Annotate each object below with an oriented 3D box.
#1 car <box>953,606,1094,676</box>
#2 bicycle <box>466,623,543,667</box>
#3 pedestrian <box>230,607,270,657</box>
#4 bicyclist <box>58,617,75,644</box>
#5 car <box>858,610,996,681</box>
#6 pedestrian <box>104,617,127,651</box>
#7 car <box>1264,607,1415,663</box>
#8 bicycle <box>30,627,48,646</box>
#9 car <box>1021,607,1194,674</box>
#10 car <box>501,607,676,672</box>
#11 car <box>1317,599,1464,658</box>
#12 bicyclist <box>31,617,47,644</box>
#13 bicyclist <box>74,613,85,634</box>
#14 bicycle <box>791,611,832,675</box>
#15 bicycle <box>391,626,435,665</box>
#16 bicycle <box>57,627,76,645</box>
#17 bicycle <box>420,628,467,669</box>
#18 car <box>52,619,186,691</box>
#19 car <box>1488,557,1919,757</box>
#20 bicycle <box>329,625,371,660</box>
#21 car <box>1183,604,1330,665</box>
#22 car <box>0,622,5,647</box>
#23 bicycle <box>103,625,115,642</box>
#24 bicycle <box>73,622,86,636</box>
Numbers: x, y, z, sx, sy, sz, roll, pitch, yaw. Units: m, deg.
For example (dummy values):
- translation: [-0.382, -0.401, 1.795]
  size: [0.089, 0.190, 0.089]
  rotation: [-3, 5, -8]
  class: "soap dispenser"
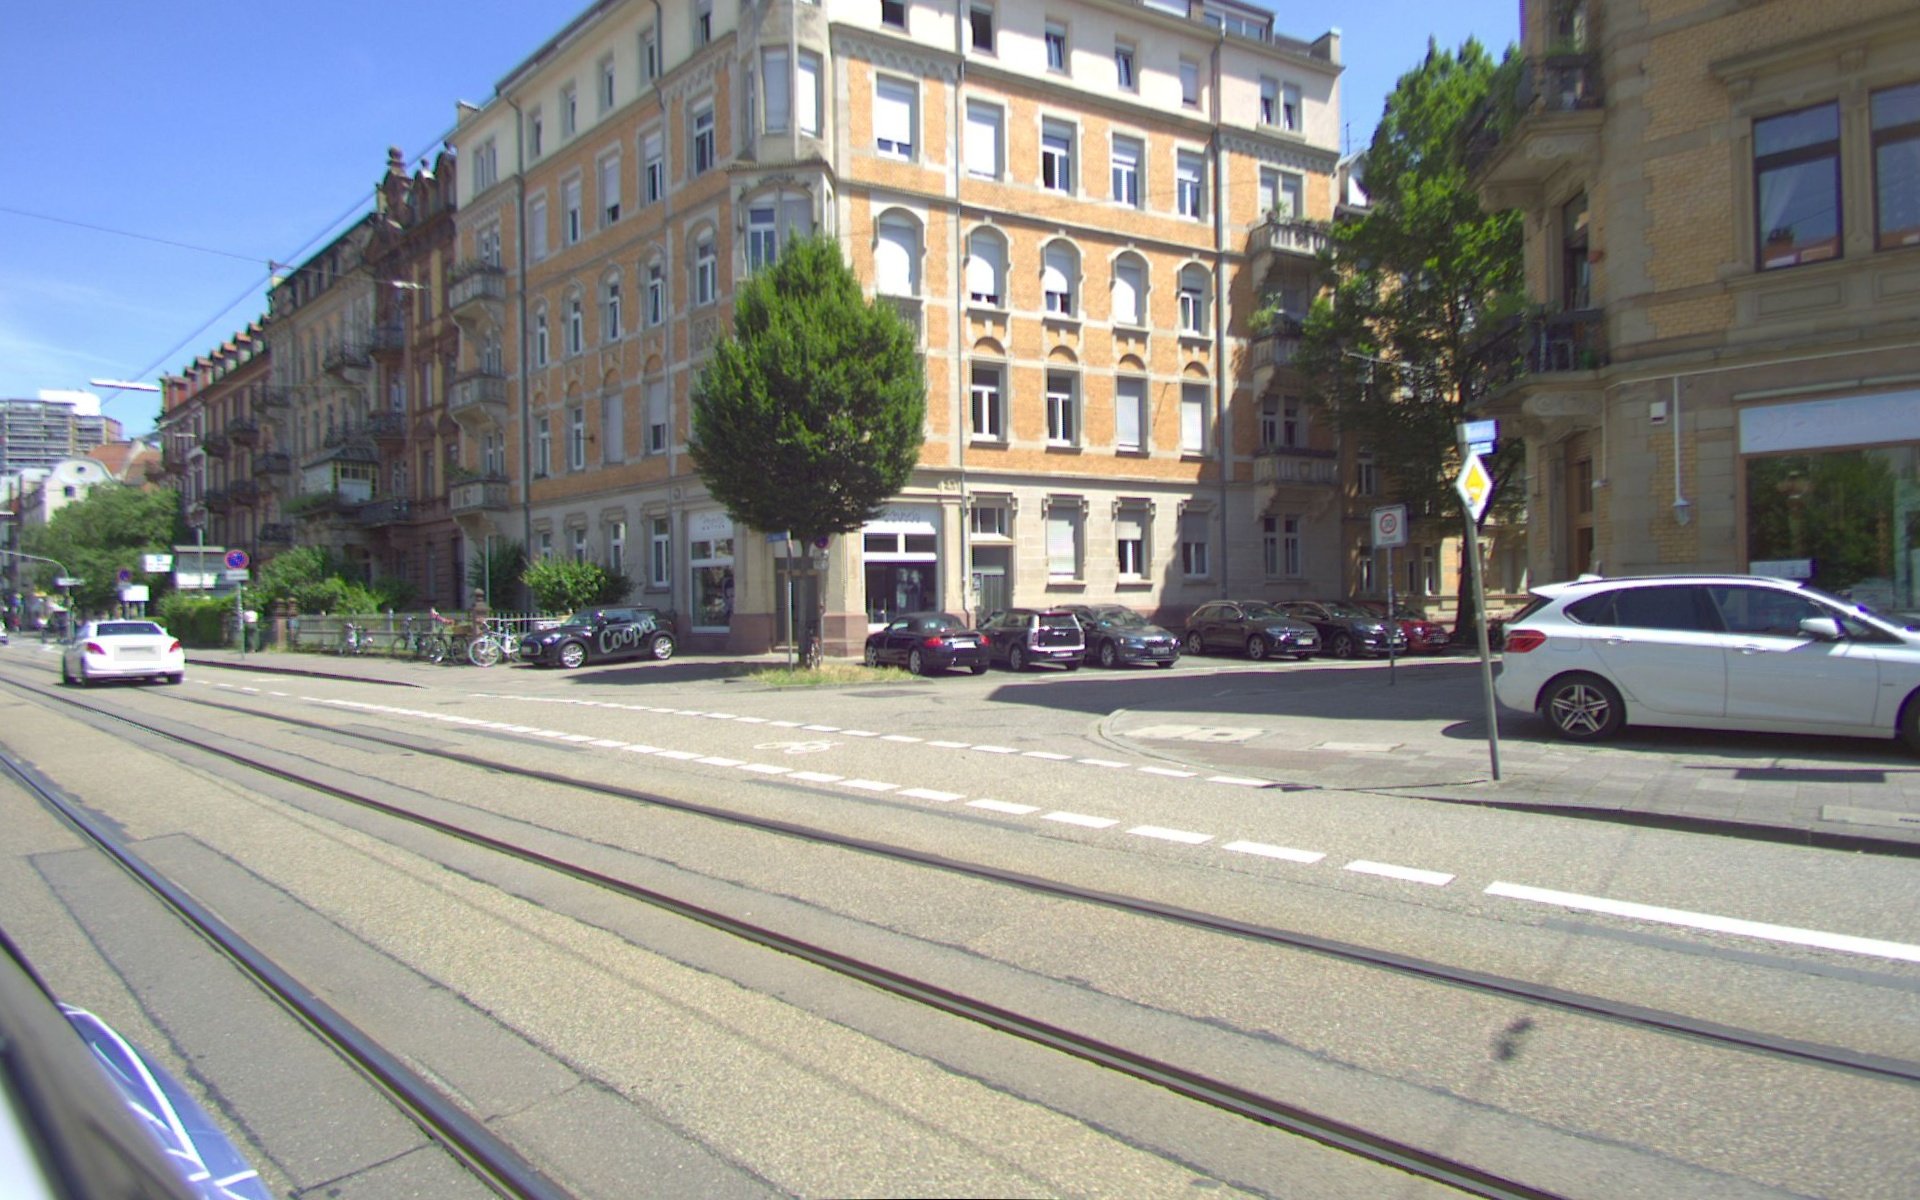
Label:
- translation: [1.431, 0.913, 24.159]
  size: [1.603, 1.450, 3.784]
  rotation: [0, 1, -28]
  class: "car"
- translation: [-11.457, 1.115, 25.499]
  size: [1.685, 1.045, 0.551]
  rotation: [0, -1, -44]
  class: "bicycle"
- translation: [-25.516, 1.133, 36.367]
  size: [1.138, 1.736, 0.842]
  rotation: [-2, 2, 42]
  class: "pedestrian"
- translation: [-53.155, 1.802, 60.216]
  size: [1.028, 1.596, 0.627]
  rotation: [-2, -2, 41]
  class: "bicyclist"
- translation: [-0.831, 0.959, 22.906]
  size: [1.603, 1.349, 3.784]
  rotation: [0, 1, -28]
  class: "car"
- translation: [-43.047, 1.715, 51.565]
  size: [0.861, 1.713, 1.014]
  rotation: [0, -1, -42]
  class: "pedestrian"
- translation: [10.435, 0.926, 28.067]
  size: [1.603, 1.349, 3.784]
  rotation: [0, 1, -28]
  class: "car"
- translation: [-53.929, 2.134, 59.257]
  size: [1.889, 1.086, 0.575]
  rotation: [-2, -2, 41]
  class: "bicycle"
- translation: [3.516, 0.929, 25.168]
  size: [1.716, 1.375, 4.841]
  rotation: [0, 1, -28]
  class: "car"
- translation: [-9.144, 0.910, 25.078]
  size: [1.713, 1.439, 3.720]
  rotation: [0, 0, 42]
  class: "car"
- translation: [12.538, 0.784, 29.676]
  size: [1.603, 1.552, 3.784]
  rotation: [0, 1, -28]
  class: "car"
- translation: [-53.921, 1.774, 59.253]
  size: [0.951, 1.556, 0.586]
  rotation: [-2, -2, 41]
  class: "bicyclist"
- translation: [-66.988, 1.785, 77.007]
  size: [0.891, 1.527, 0.556]
  rotation: [-2, -1, 42]
  class: "bicyclist"
- translation: [-3.178, 0.886, 21.576]
  size: [0.493, 1.237, 1.856]
  rotation: [0, 1, -20]
  class: "bicycle"
- translation: [-14.634, 1.213, 27.052]
  size: [1.709, 0.991, 0.434]
  rotation: [-2, -1, 40]
  class: "bicycle"
- translation: [-53.141, 2.145, 60.191]
  size: [1.874, 1.086, 0.622]
  rotation: [-2, -2, 41]
  class: "bicycle"
- translation: [-13.120, 1.214, 25.682]
  size: [1.709, 0.991, 0.434]
  rotation: [-2, -1, 40]
  class: "bicycle"
- translation: [-18.689, 1.155, 22.444]
  size: [3.999, 1.435, 1.737]
  rotation: [-1, -2, 42]
  class: "car"
- translation: [7.448, 0.460, 9.576]
  size: [4.094, 1.612, 1.849]
  rotation: [-1, 0, 37]
  class: "car"
- translation: [-18.415, 1.284, 30.538]
  size: [1.709, 0.994, 0.491]
  rotation: [-2, 3, 40]
  class: "bicycle"
- translation: [7.951, 0.881, 27.455]
  size: [1.603, 1.453, 3.784]
  rotation: [0, 1, -28]
  class: "car"
- translation: [-59.047, 2.092, 61.170]
  size: [3.999, 1.460, 1.666]
  rotation: [-2, -2, 42]
  class: "car"
- translation: [-54.104, 2.152, 64.326]
  size: [1.565, 1.064, 0.454]
  rotation: [-2, -1, 45]
  class: "bicycle"
- translation: [-66.967, 2.197, 76.988]
  size: [1.828, 1.046, 0.561]
  rotation: [-2, -1, 42]
  class: "bicycle"
